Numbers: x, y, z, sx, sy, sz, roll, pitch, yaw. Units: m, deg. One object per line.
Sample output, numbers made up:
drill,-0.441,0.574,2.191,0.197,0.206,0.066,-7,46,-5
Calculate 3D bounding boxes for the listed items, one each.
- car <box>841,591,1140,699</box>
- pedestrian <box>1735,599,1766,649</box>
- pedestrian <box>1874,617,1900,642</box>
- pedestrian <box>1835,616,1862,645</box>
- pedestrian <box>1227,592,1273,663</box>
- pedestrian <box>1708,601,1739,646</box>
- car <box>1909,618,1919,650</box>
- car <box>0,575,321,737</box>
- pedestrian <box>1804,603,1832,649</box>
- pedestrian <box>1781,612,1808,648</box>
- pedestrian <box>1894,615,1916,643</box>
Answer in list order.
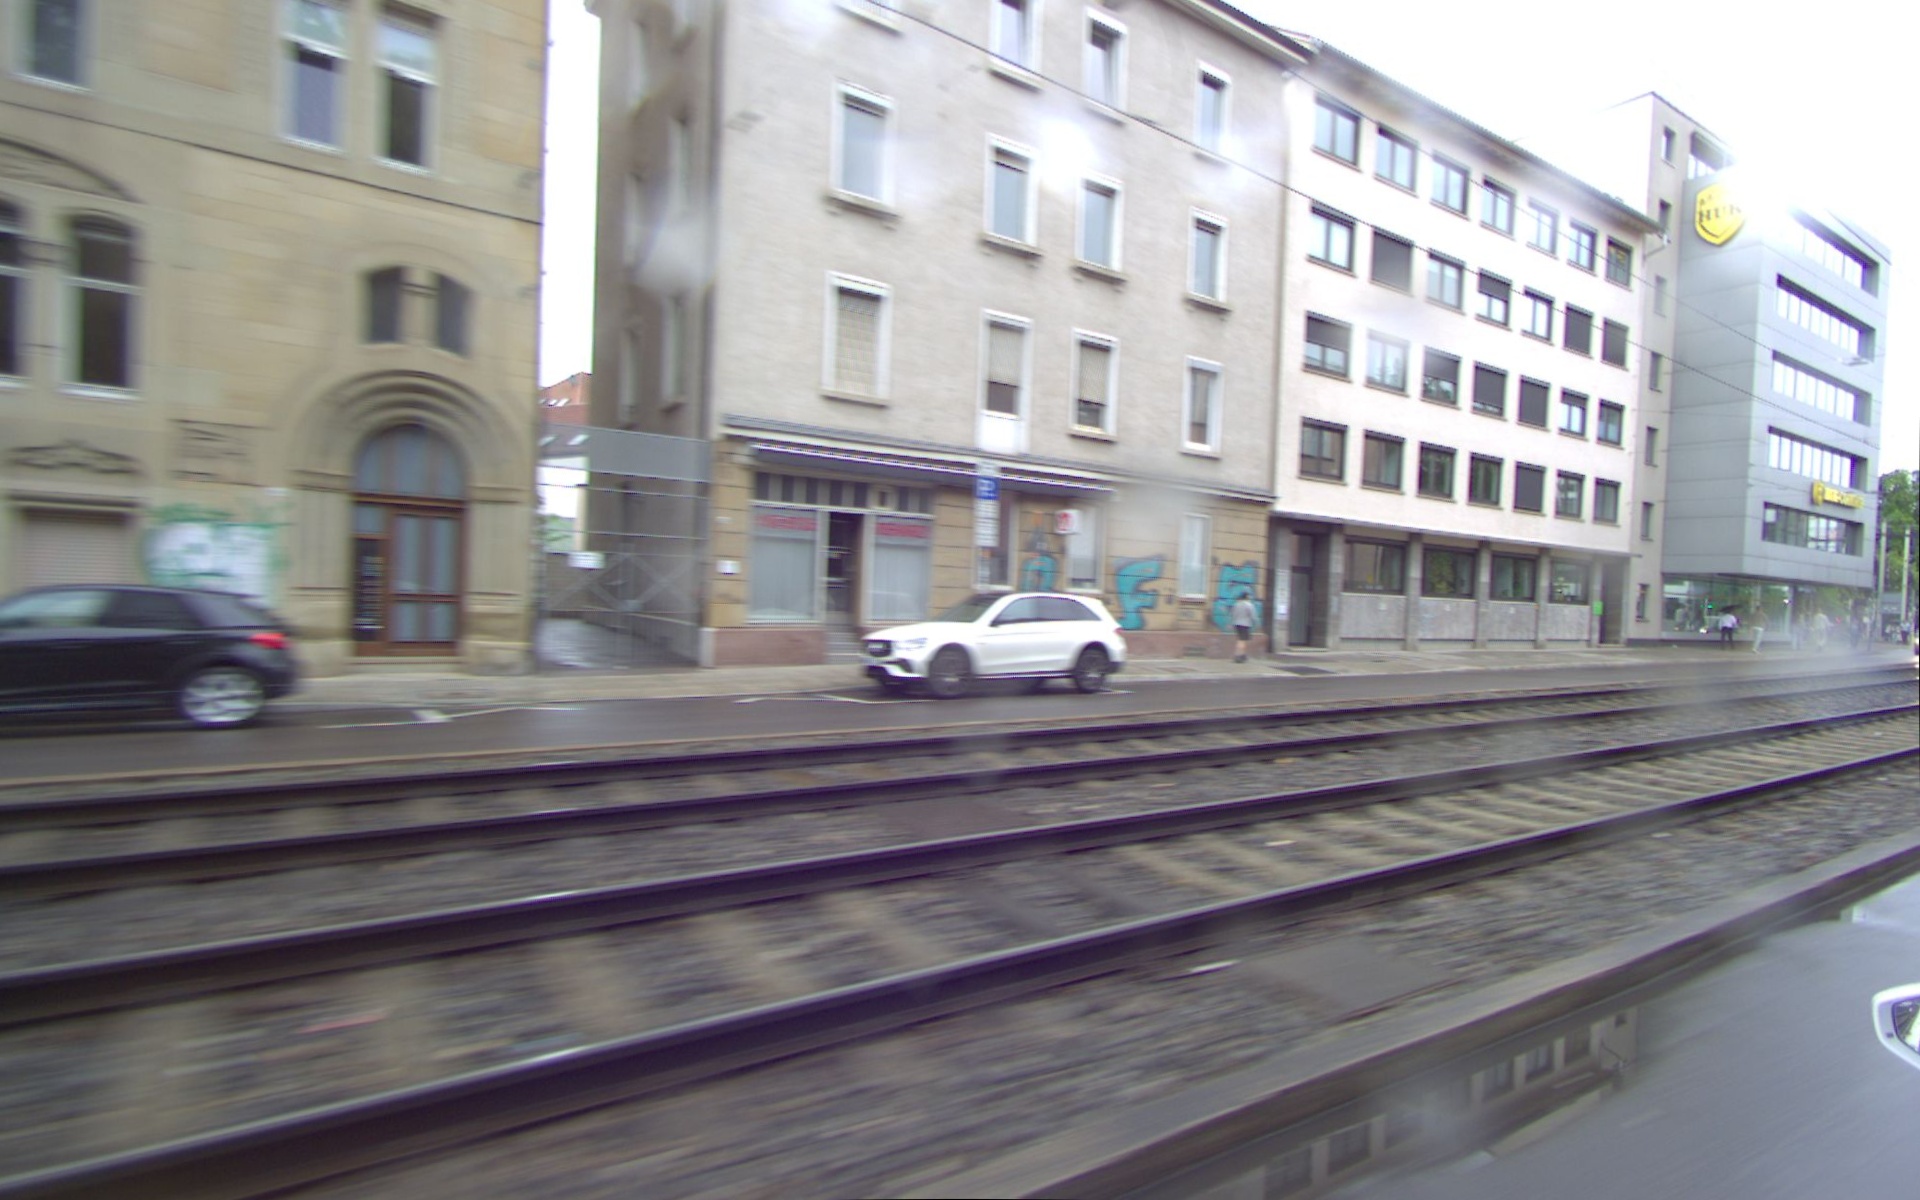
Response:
car,0.588,0.733,16.584,4.701,1.556,1.981,2,-2,-35
pedestrian,33.151,1.011,42.115,0.802,2.041,0.657,2,3,-33
pedestrian,63.296,2.028,68.607,0.896,1.615,1.003,4,2,23
pedestrian,51.418,1.761,58.110,0.949,1.615,0.588,4,2,27
pedestrian,6.869,0.649,23.780,0.790,1.634,0.543,2,4,-32
pedestrian,32.568,1.011,42.826,0.963,1.840,0.657,2,3,-33
car,47.904,1.671,48.811,4.309,1.556,1.925,2,-2,-38
car,-8.892,0.544,10.082,4.128,1.475,1.725,2,-2,-35
pedestrian,38.982,1.182,45.633,0.650,2.041,0.617,4,2,18
pedestrian,38.381,1.372,46.206,0.625,1.615,0.587,3,2,-17
pedestrian,66.411,2.031,70.587,0.906,1.888,0.991,1,3,-42
